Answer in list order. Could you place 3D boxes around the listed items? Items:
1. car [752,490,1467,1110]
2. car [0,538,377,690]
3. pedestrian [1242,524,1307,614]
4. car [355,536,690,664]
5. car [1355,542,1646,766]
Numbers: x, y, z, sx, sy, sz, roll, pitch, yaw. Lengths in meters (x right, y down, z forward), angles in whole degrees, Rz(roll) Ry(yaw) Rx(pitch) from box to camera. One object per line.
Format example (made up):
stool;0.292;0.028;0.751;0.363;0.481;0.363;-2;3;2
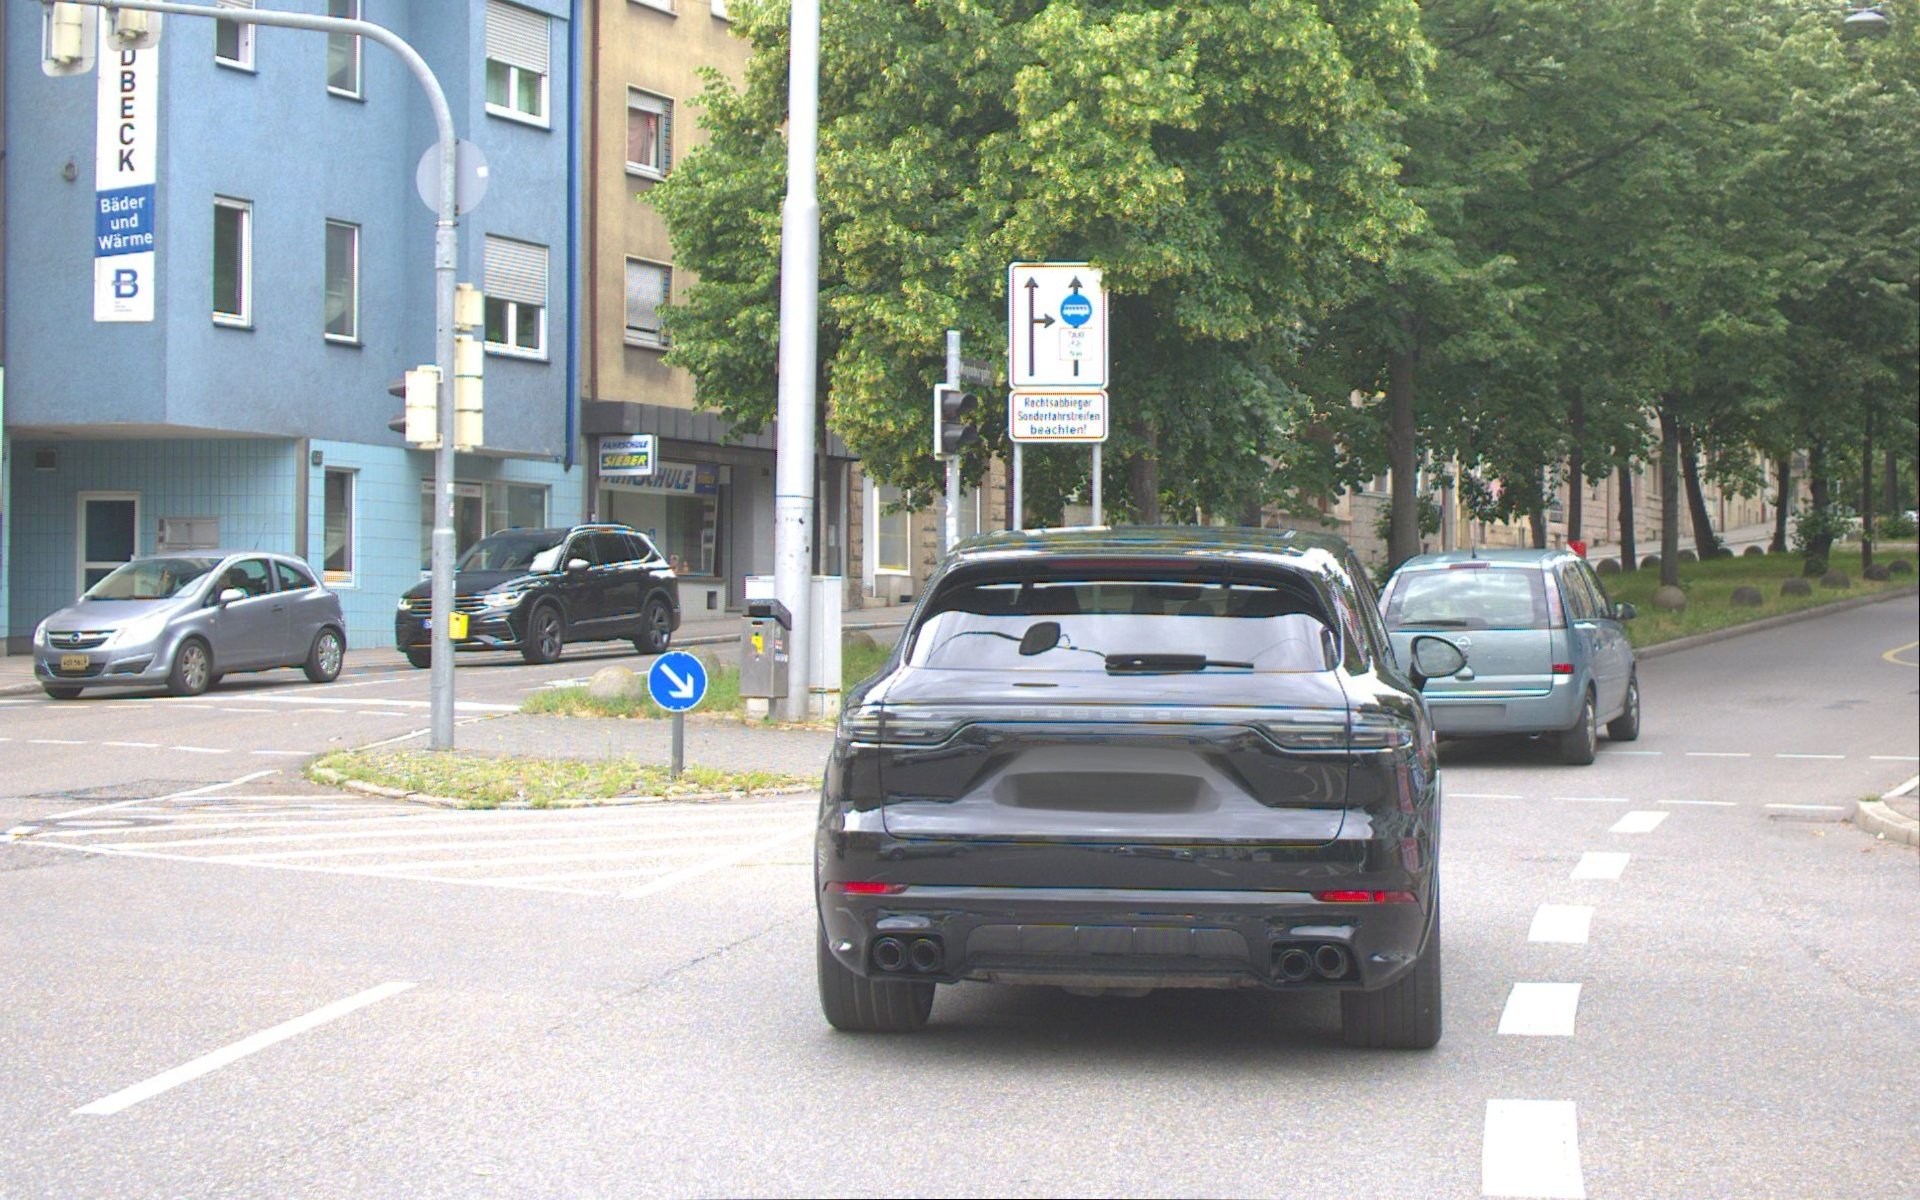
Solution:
car;0.733;0.549;12.228;2.032;1.717;4.498;2;1;8
car;-7.945;0.125;35.534;1.719;1.471;4.213;-1;0;24
pedestrian;7.092;-0.702;77.616;1.193;2.007;0.988;1;1;21
car;-5.282;-0.045;42.171;1.872;1.411;4.692;0;2;25
car;4.248;0.389;26.621;1.650;1.550;3.580;2;0;18
